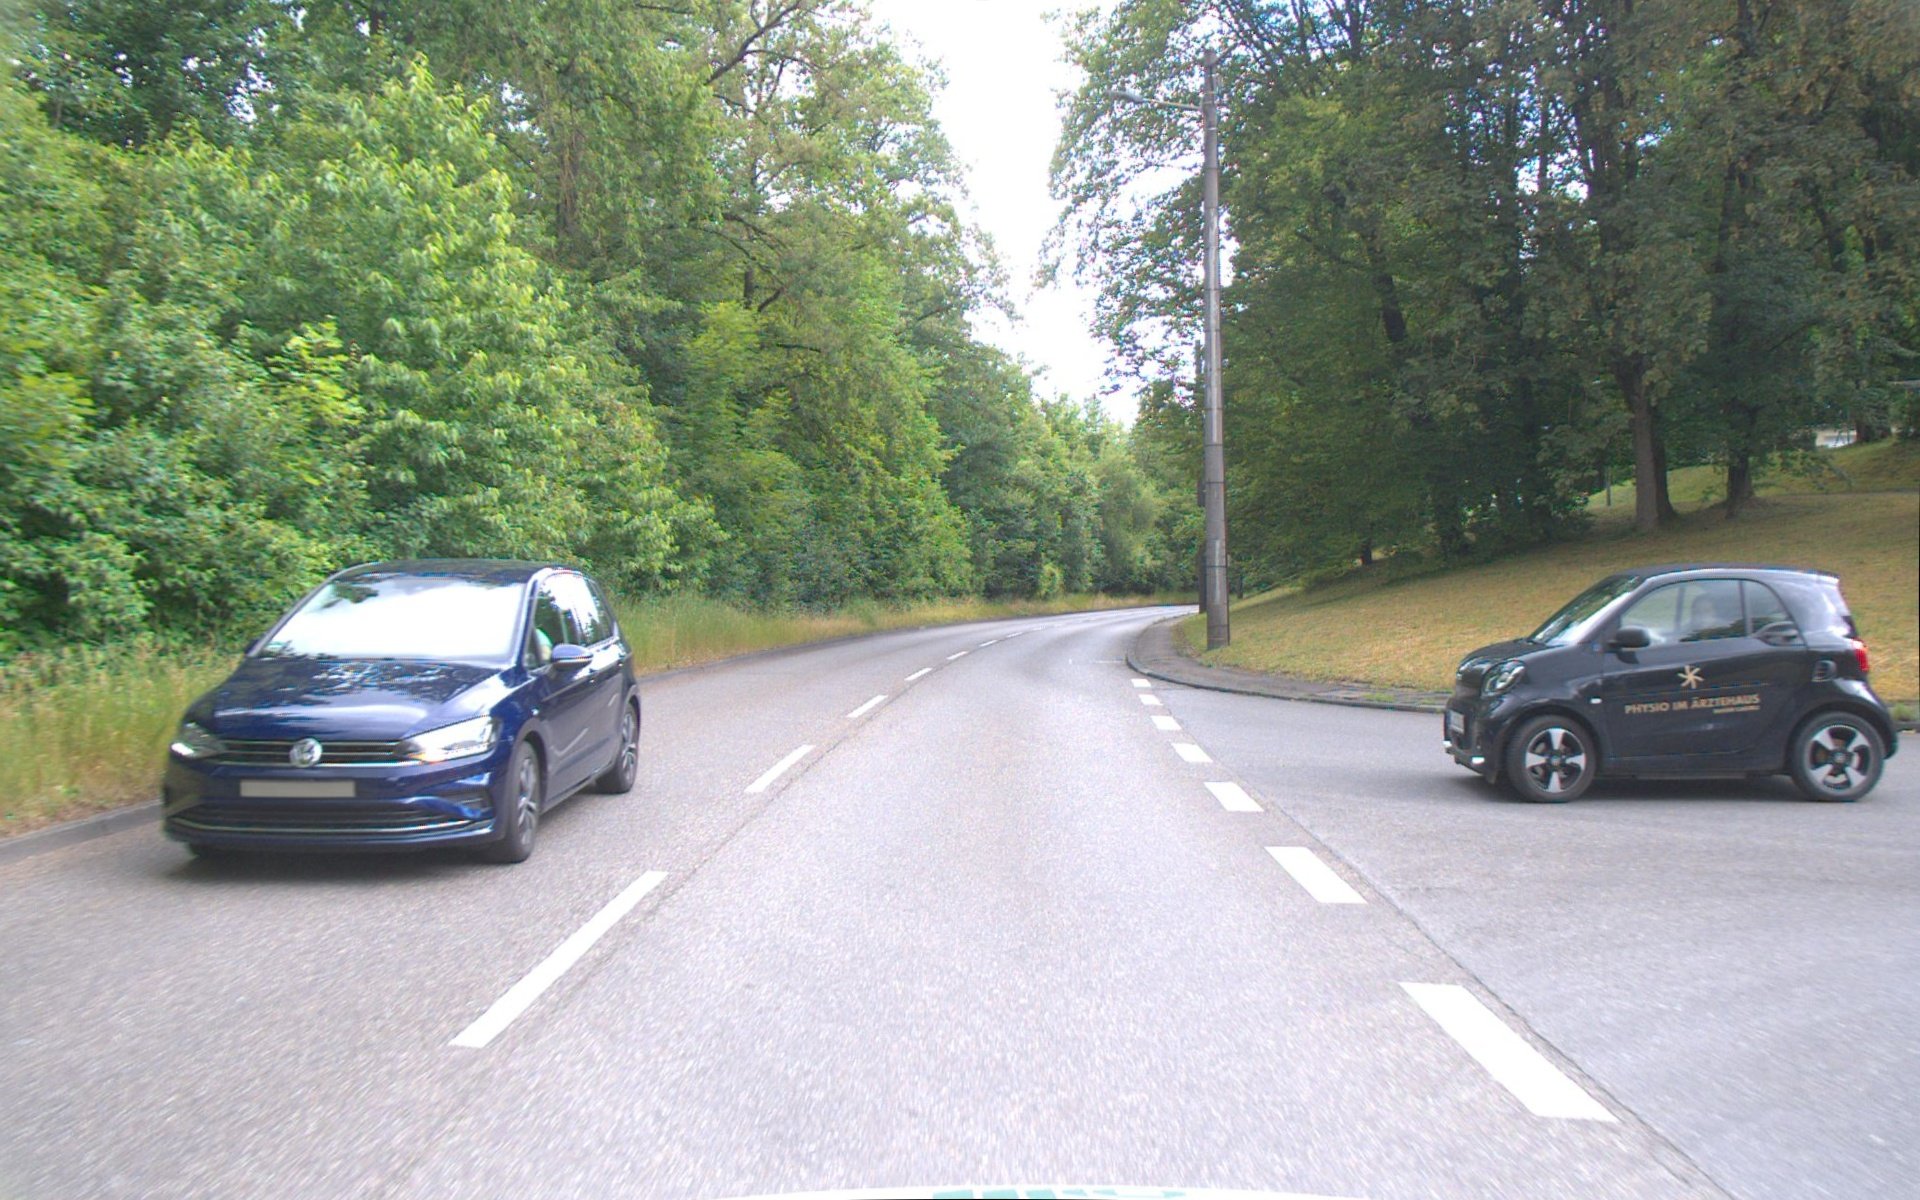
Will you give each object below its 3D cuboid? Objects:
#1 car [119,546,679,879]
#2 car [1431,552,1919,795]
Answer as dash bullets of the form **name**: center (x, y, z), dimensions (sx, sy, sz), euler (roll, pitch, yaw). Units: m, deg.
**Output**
- **car**: center (-3.025, 0.481, 10.120), dimensions (1.752, 1.541, 4.843), euler (0, 1, 0)
- **car**: center (5.125, 0.475, 11.587), dimensions (3.234, 1.521, 1.669), euler (-1, 0, 5)
